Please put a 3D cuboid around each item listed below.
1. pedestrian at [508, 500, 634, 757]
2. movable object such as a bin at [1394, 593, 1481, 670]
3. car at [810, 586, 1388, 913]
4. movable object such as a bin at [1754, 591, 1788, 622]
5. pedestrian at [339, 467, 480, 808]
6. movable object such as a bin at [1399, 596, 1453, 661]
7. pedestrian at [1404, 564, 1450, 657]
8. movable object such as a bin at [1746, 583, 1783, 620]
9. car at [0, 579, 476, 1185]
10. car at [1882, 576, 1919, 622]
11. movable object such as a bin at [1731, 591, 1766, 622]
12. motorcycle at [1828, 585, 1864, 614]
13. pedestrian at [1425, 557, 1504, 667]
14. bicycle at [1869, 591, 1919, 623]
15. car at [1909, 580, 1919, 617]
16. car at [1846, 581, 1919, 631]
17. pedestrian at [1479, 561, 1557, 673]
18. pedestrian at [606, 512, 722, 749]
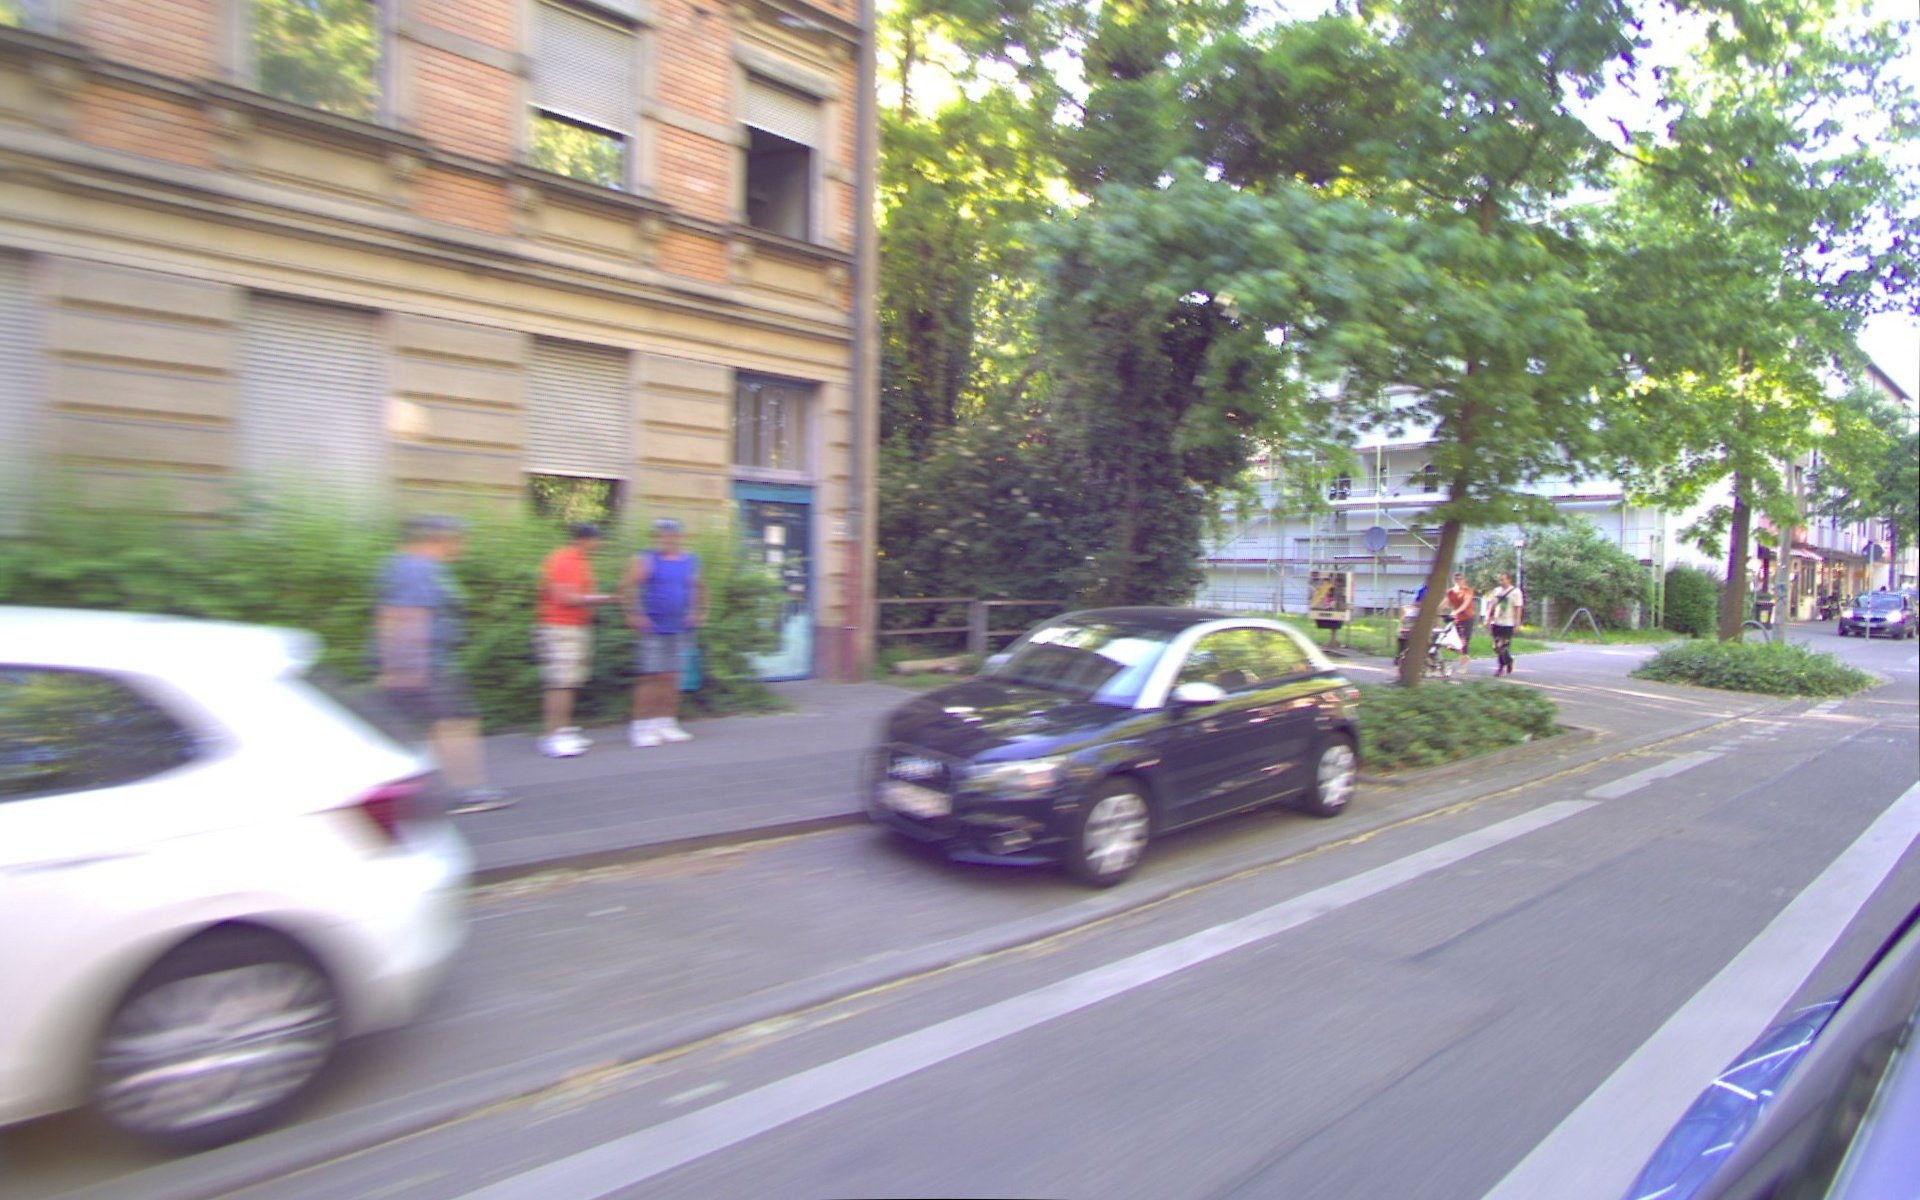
[{"bbox_3d":[-2.930,0.195,7.630,0.599,1.815,0.717,0,1,45],"label":"pedestrian"},{"bbox_3d":[7.947,0.508,16.832,1.279,1.217,0.642,1,3,-30],"label":"movable object such as a bin"},{"bbox_3d":[1.082,0.678,6.623,3.777,1.429,1.676,-1,4,-42],"label":"car"},{"bbox_3d":[30.901,0.224,38.562,0.685,1.124,0.882,0,3,-42],"label":"movable object such as a bin"},{"bbox_3d":[-3.198,0.193,5.864,0.590,1.815,0.727,0,0,-40],"label":"pedestrian"},{"bbox_3d":[8.634,0.511,18.736,0.665,1.140,0.942,1,1,42],"label":"movable object such as a bin"},{"bbox_3d":[8.943,0.196,19.401,0.544,1.747,0.619,0,0,-37],"label":"pedestrian"},{"bbox_3d":[32.127,0.037,40.410,0.811,1.414,1.001,0,3,-42],"label":"movable object such as a bin"},{"bbox_3d":[-3.651,0.688,2.563,4.035,1.384,1.888,-1,4,-41],"label":"car"},{"bbox_3d":[42.842,-0.013,45.022,4.118,1.918,2.000,0,4,-39],"label":"car"},{"bbox_3d":[30.155,0.230,38.704,0.685,1.124,0.882,0,3,-42],"label":"movable object such as a bin"},{"bbox_3d":[45.130,-0.031,51.539,2.605,1.332,0.954,1,6,-43],"label":"motorcycle"},{"bbox_3d":[8.712,0.190,17.480,0.948,1.815,0.729,1,3,-30],"label":"pedestrian"},{"bbox_3d":[39.257,0.313,41.933,1.011,1.224,2.209,0,4,-40],"label":"bicycle"},{"bbox_3d":[47.684,-0.089,49.395,4.102,1.777,1.691,-1,1,-42],"label":"car"},{"bbox_3d":[33.612,0.195,36.468,4.361,1.641,1.767,0,3,-39],"label":"car"},{"bbox_3d":[9.379,0.272,17.022,0.836,1.815,0.729,1,3,-30],"label":"pedestrian"},{"bbox_3d":[-2.403,0.226,8.210,0.716,1.815,0.599,0,1,-43],"label":"pedestrian"}]
